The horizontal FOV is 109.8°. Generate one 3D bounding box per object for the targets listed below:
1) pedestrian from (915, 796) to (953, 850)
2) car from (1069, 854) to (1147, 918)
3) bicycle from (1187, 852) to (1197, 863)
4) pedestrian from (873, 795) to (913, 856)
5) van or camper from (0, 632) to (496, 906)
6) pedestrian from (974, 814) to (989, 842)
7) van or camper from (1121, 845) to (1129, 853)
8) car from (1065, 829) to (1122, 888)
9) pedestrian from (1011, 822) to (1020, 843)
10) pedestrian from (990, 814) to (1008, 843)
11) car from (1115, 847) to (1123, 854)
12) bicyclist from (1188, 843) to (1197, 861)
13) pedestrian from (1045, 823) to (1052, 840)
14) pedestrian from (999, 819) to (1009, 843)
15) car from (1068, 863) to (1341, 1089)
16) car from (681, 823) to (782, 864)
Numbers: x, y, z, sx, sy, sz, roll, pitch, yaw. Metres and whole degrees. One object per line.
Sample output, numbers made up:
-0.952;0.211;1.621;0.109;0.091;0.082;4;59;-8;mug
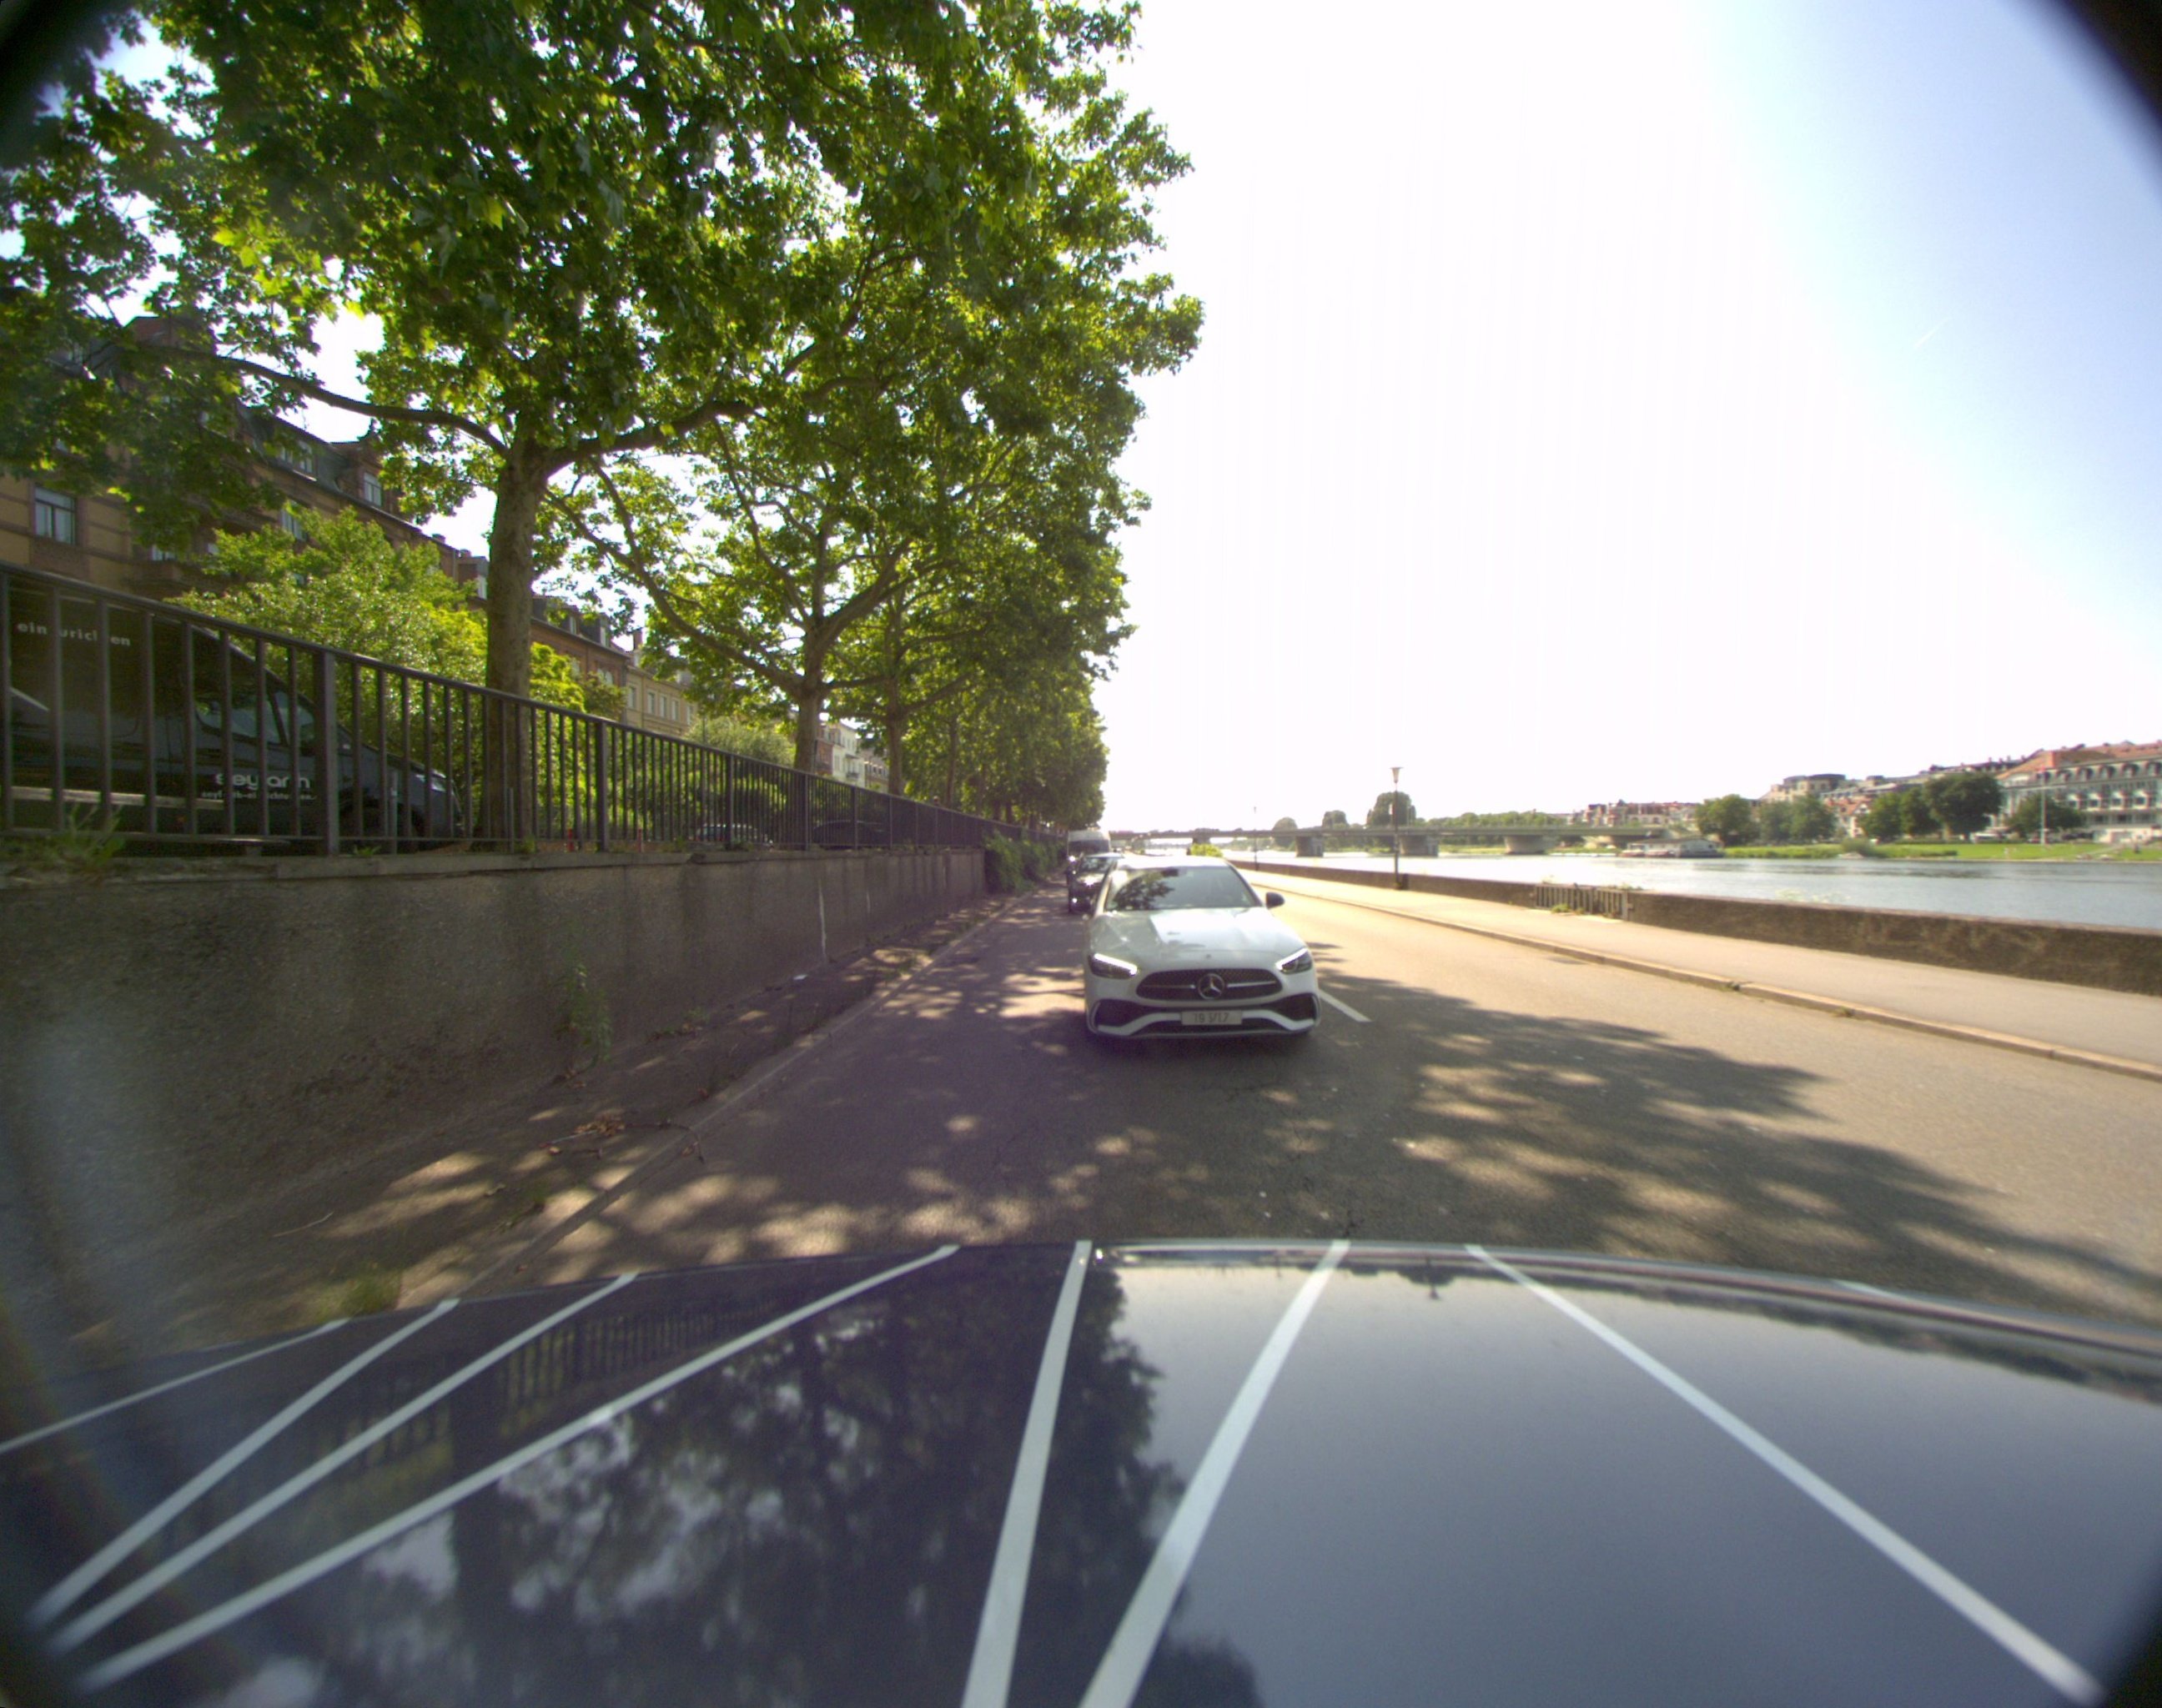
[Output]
-4.465;-0.926;23.192;0.939;1.570;1.027;2;1;-1;pedestrian
0.623;0.741;19.798;1.756;1.385;4.619;-2;1;0;car
10.288;0.301;70.214;0.634;1.006;1.985;-1;1;0;bicycle
-4.511;-0.669;18.317;0.682;1.416;0.949;2;1;0;pedestrian
-9.766;-0.602;6.253;2.339;2.171;7.368;-3;2;30;van or camper
-4.871;-1.259;37.231;0.645;1.358;0.794;2;1;-1;pedestrian
13.370;-1.462;232.186;2.082;2.384;5.384;2;1;1;van or camper
0.550;0.159;34.572;2.351;2.429;6.208;-1;1;0;car
-4.396;-1.455;51.069;0.586;1.411;0.589;-1;1;-7;pedestrian
-4.004;-1.226;36.954;0.755;1.358;0.814;2;1;-1;pedestrian
8.890;-0.821;178.145;1.736;1.433;4.045;0;1;0;car
10.307;-0.164;70.192;0.639;1.664;0.871;-1;1;0;bicyclist
-3.047;-2.084;71.737;0.666;1.582;0.650;0;1;1;pedestrian
-5.181;-1.532;50.852;0.649;1.631;0.626;-1;1;-7;pedestrian
0.898;0.867;7.483;1.830;1.411;4.552;-2;0;1;car
-13.932;-0.426;30.607;1.841;1.504;4.429;1;1;3;car
